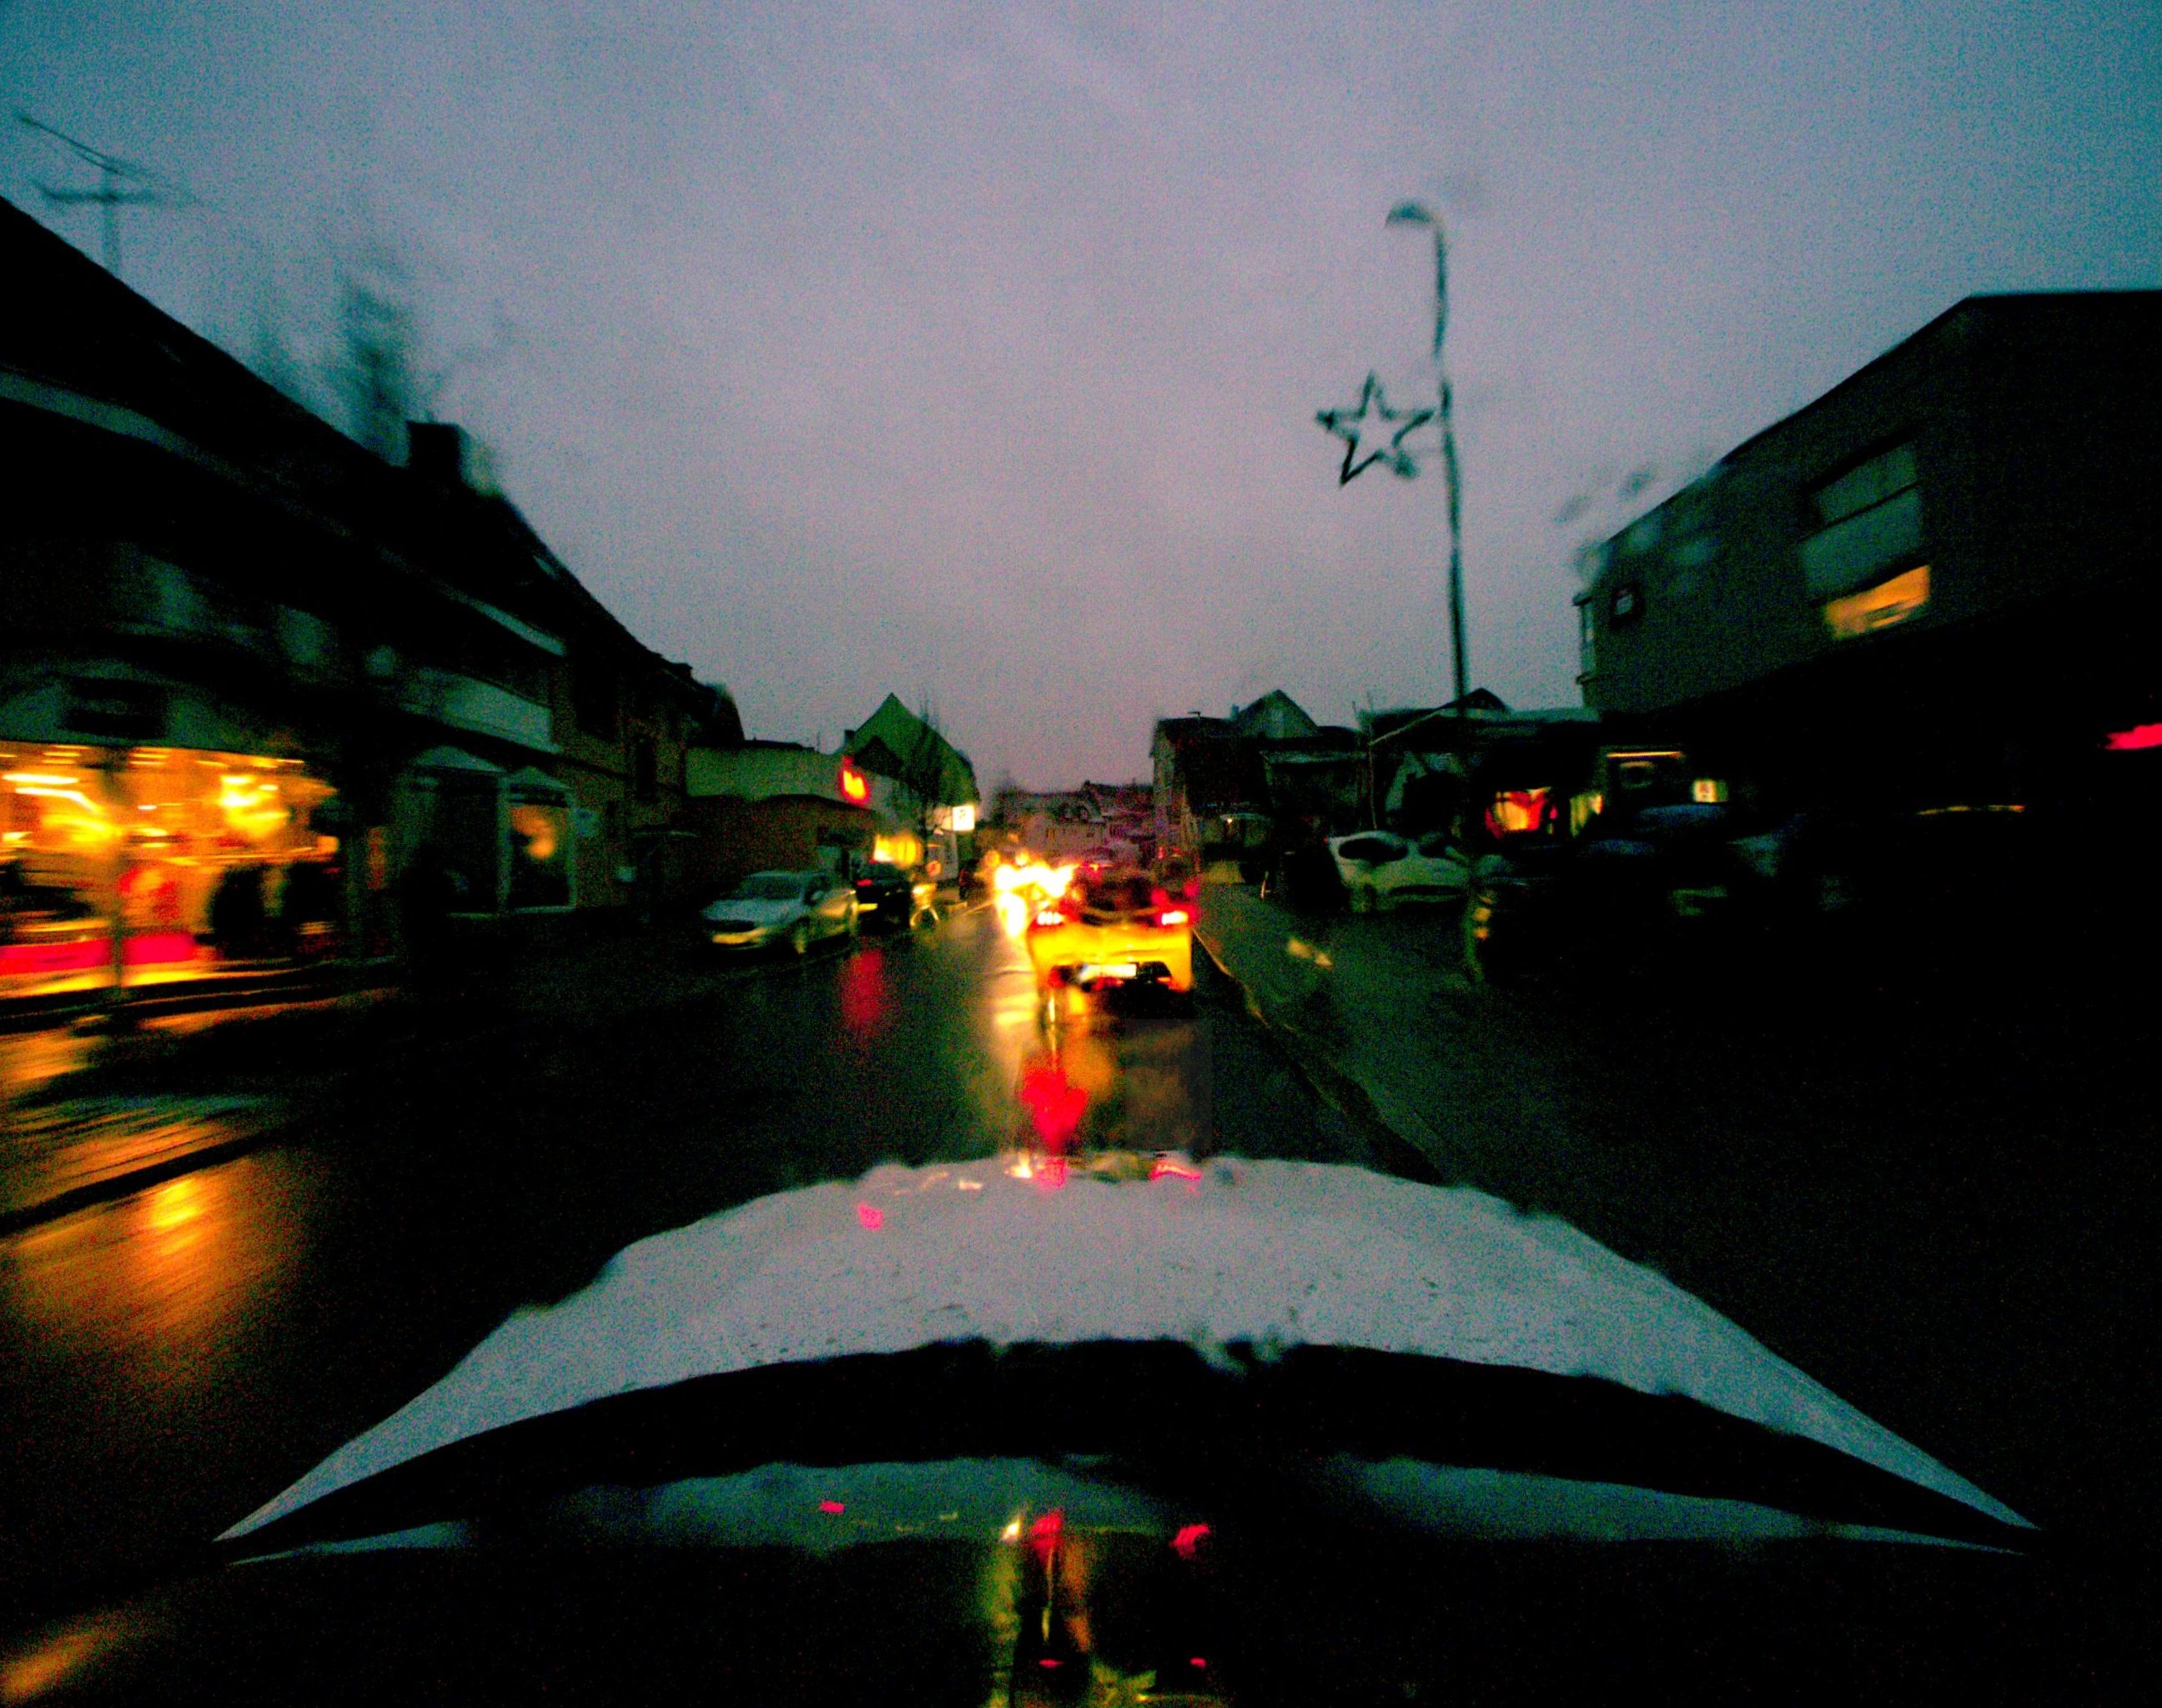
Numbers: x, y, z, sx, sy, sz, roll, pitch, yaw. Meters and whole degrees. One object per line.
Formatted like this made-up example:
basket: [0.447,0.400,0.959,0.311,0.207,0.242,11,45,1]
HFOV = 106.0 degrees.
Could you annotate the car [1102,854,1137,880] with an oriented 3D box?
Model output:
car: [2.441,0.797,52.118,1.988,1.588,3.998,0,-1,-1]

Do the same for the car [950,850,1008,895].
car: [-4.359,0.734,35.583,2.081,1.792,5.019,-1,0,-3]

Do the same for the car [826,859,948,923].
car: [-5.150,0.936,22.404,1.986,1.522,4.980,-1,-1,2]

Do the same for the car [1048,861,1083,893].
car: [-0.918,1.328,48.380,1.946,1.546,4.414,-3,2,-1]

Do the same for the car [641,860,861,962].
car: [-5.728,0.904,14.887,1.986,1.558,4.623,0,0,2]

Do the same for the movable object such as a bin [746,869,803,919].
movable object such as a bin: [-9.155,1.183,24.392,1.339,1.354,0.886,-4,-1,-8]

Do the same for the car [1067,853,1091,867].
car: [-0.318,0.798,107.213,1.997,1.765,4.328,-3,0,-15]

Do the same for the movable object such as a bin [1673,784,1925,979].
movable object such as a bin: [6.814,0.245,7.831,1.282,1.644,1.184,-4,0,-1]

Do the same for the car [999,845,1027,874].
car: [-6.262,0.554,74.897,2.482,2.560,6.748,0,-1,-5]

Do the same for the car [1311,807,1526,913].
car: [7.454,0.147,18.424,4.066,2.049,2.005,-3,-1,9]

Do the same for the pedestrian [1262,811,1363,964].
pedestrian: [3.065,0.429,10.887,0.964,1.889,1.005,-3,-1,-1]

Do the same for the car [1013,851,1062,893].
car: [-1.922,0.776,37.327,1.987,1.705,4.966,1,1,0]

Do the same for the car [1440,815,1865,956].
car: [6.985,0.394,10.365,3.969,1.486,1.915,-2,-1,4]

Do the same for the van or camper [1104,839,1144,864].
van or camper: [5.638,-0.331,108.274,2.661,3.047,6.686,-5,1,-21]

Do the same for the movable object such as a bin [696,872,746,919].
movable object such as a bin: [-10.686,1.215,24.213,1.149,1.354,0.849,-1,-1,-9]

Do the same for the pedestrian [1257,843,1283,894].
pedestrian: [6.335,0.477,27.355,0.837,1.705,0.842,0,0,12]

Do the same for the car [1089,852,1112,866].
car: [2.541,0.702,107.533,1.996,1.610,4.155,-3,-1,-13]

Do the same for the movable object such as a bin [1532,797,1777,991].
movable object such as a bin: [5.459,0.352,7.880,1.389,1.644,1.261,-4,0,-1]

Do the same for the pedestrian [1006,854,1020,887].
pedestrian: [-3.313,0.805,39.630,0.572,1.585,0.530,-1,0,1]

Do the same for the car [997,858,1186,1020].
car: [0.112,0.828,9.801,1.808,1.533,3.999,0,-1,0]

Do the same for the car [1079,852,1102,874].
car: [0.800,0.808,72.267,1.988,1.857,3.998,0,-1,-1]

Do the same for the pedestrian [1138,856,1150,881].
pedestrian: [4.398,1.000,57.113,0.743,1.729,0.872,-1,1,-2]

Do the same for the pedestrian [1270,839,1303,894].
pedestrian: [6.642,0.391,26.339,0.702,1.705,0.913,-3,-1,-6]

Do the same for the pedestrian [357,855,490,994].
pedestrian: [-8.299,0.849,10.335,0.825,1.658,1.095,0,-1,-6]
